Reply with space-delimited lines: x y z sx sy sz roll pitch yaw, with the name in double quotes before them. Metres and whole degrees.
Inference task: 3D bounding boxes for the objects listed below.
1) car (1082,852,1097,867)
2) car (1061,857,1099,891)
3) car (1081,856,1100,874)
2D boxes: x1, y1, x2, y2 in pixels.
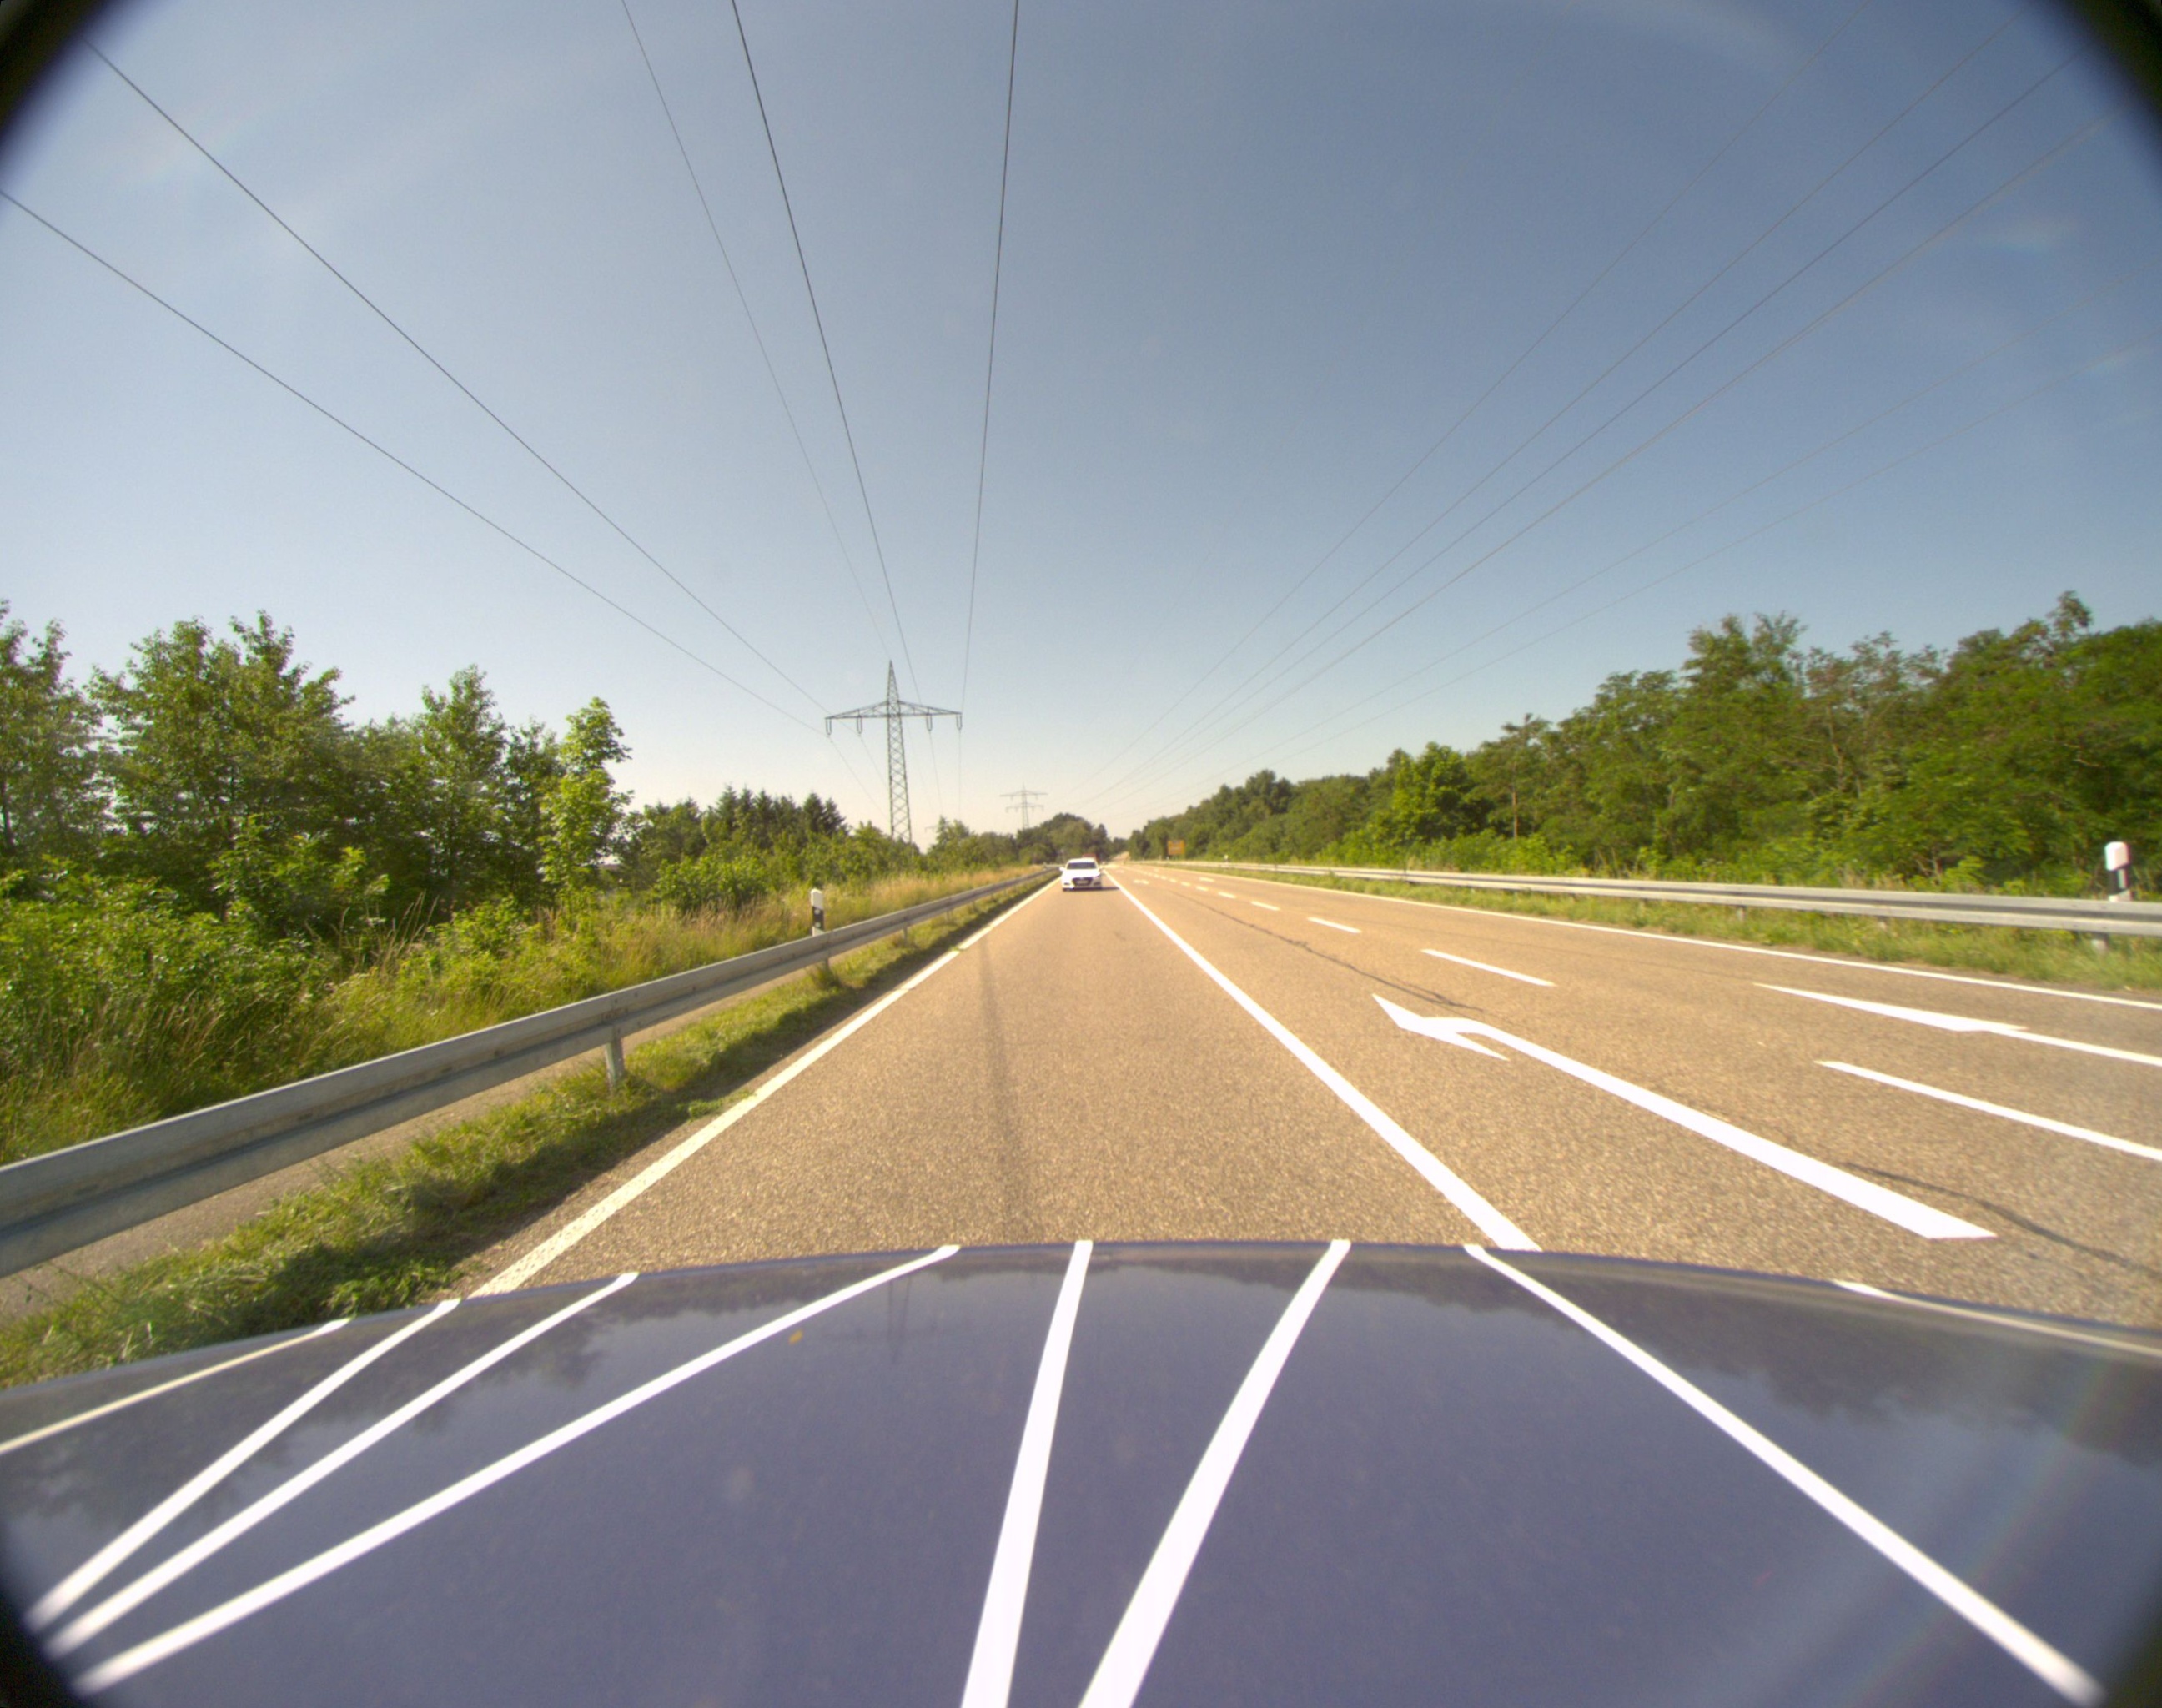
"car" 1.109 0.675 100.120 1.795 1.892 4.837 -2 0 -1
"car" -0.044 0.895 36.484 1.683 1.472 4.473 -1 0 0
"car" 0.798 0.967 67.071 1.549 1.460 3.661 -2 0 -1
